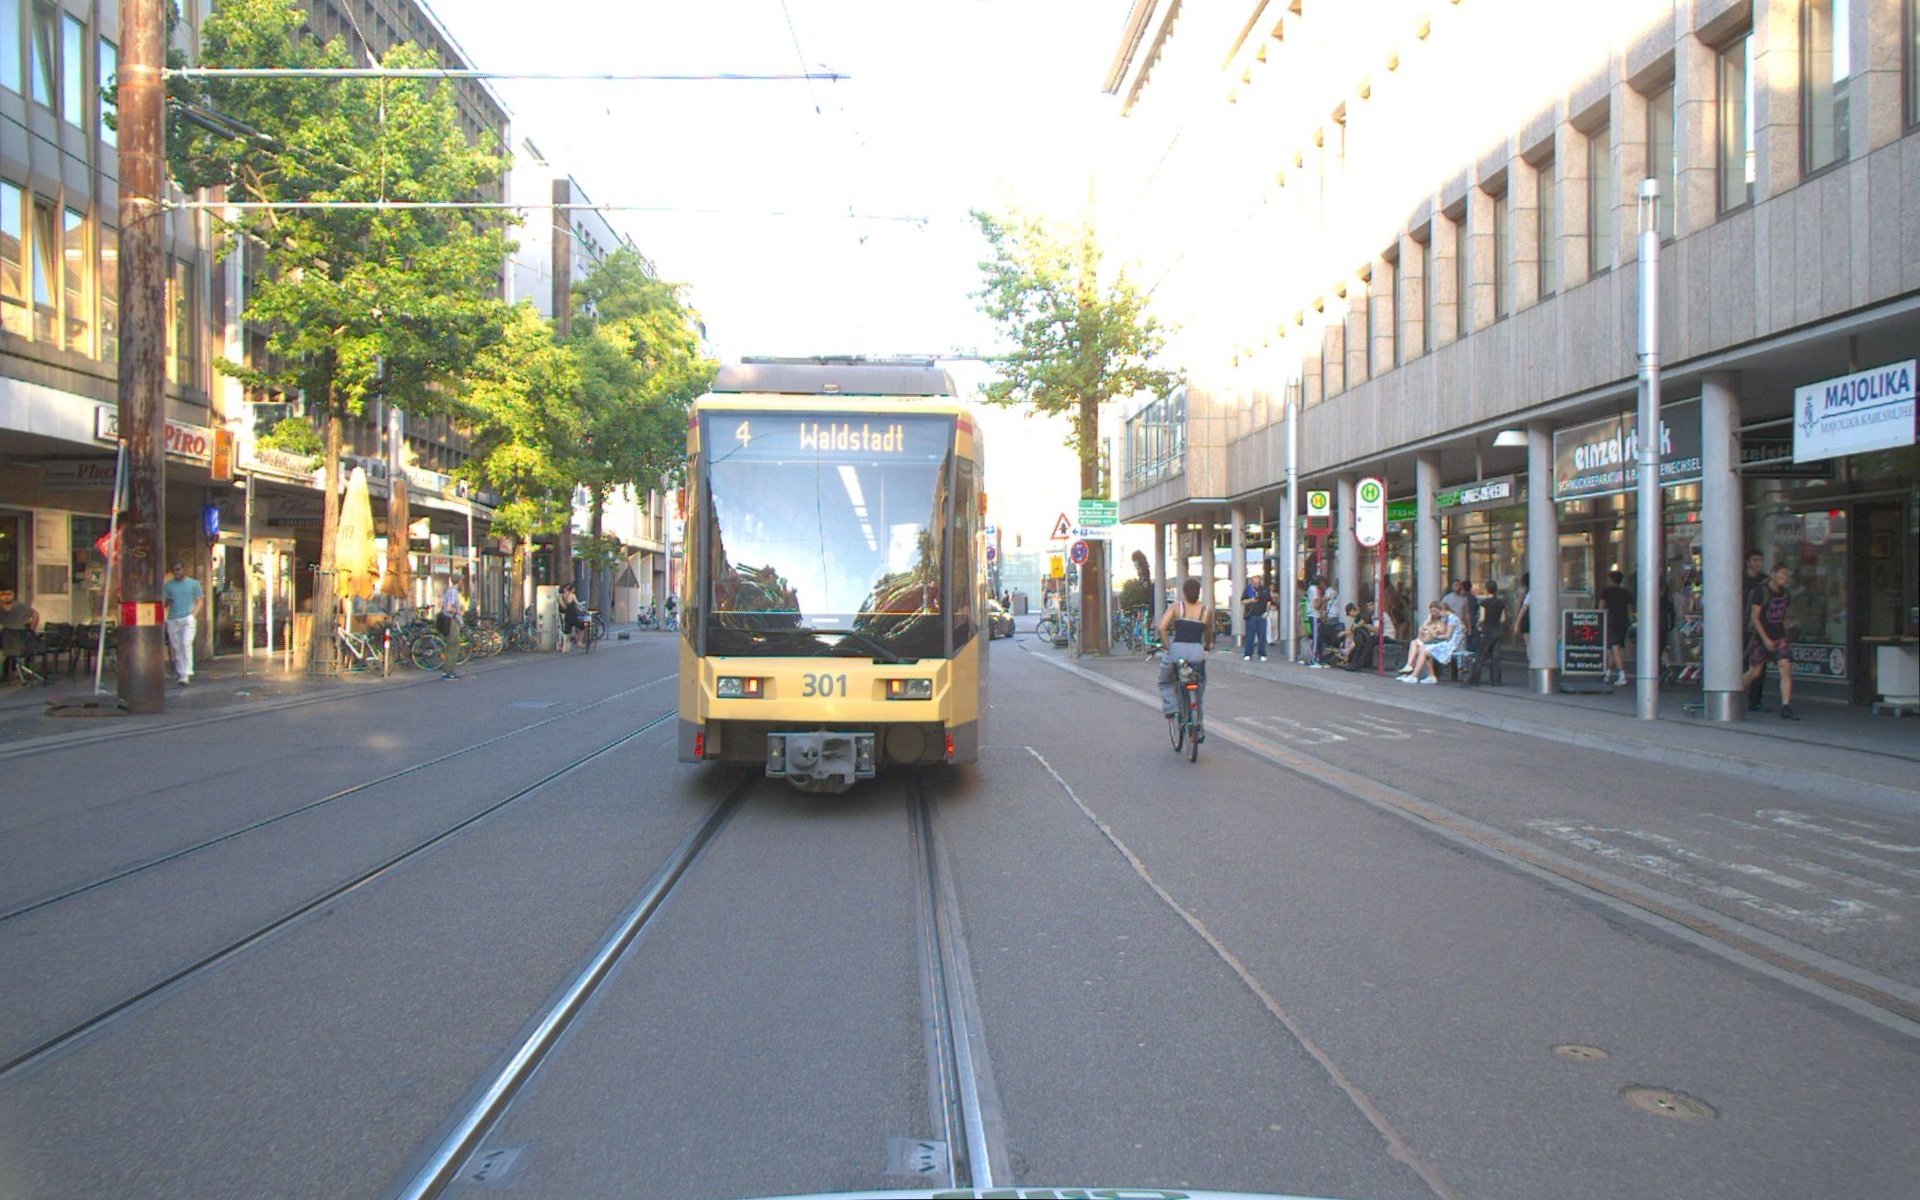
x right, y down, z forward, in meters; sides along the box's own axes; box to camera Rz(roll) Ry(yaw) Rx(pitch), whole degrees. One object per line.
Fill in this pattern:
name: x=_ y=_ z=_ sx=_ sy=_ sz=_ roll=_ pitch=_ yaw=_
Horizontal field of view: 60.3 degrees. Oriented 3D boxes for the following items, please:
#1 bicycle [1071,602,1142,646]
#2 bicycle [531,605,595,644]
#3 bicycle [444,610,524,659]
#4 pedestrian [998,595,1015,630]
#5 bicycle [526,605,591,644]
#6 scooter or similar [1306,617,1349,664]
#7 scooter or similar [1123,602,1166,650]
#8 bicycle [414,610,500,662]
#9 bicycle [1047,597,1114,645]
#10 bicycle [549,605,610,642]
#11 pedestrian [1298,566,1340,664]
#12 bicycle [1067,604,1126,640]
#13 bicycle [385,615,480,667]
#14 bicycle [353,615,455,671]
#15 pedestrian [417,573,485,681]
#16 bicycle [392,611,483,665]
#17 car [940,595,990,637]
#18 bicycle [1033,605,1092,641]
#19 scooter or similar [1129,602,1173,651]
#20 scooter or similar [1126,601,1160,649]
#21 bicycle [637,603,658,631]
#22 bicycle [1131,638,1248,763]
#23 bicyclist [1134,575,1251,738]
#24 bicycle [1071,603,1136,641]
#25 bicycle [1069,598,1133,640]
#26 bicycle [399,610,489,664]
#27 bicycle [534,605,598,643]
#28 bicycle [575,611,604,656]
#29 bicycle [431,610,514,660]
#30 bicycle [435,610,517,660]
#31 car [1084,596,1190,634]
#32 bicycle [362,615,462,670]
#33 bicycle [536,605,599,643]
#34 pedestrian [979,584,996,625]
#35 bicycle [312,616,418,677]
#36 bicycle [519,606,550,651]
bicycle: x=4.330 y=0.704 z=48.958 sx=1.958 sy=1.175 sz=0.724 roll=-2 pitch=0 yaw=-7
bicycle: x=-11.600 y=0.718 z=48.311 sx=1.736 sy=1.063 sz=0.489 roll=2 pitch=0 yaw=-2
bicycle: x=-11.284 y=0.814 z=39.215 sx=1.738 sy=1.090 sz=0.488 roll=2 pitch=0 yaw=-8
pedestrian: x=2.476 y=0.652 z=88.414 sx=0.722 sy=1.855 sz=0.816 roll=0 pitch=0 yaw=-17
bicycle: x=-11.581 y=0.716 z=47.740 sx=1.736 sy=1.063 sz=0.489 roll=2 pitch=0 yaw=-2
scooter or similar: x=7.281 y=0.804 z=32.785 sx=0.815 sy=0.899 sz=0.687 roll=1 pitch=0 yaw=12
scooter or similar: x=5.072 y=0.701 z=45.394 sx=1.176 sy=1.273 sz=0.389 roll=-2 pitch=1 yaw=-32
bicycle: x=-11.182 y=0.805 z=36.801 sx=1.738 sy=1.090 sz=0.488 roll=2 pitch=0 yaw=-8
bicycle: x=3.641 y=0.633 z=49.924 sx=1.879 sy=1.356 sz=0.724 roll=-2 pitch=0 yaw=-7
bicycle: x=-11.675 y=0.727 z=50.772 sx=1.736 sy=1.063 sz=0.489 roll=2 pitch=0 yaw=-2
pedestrian: x=6.964 y=0.286 z=32.091 sx=0.626 sy=1.872 sz=0.667 roll=-1 pitch=0 yaw=-1
bicycle: x=4.492 y=0.726 z=54.349 sx=1.816 sy=1.128 sz=0.666 roll=-2 pitch=0 yaw=-5
bicycle: x=-10.633 y=0.826 z=33.384 sx=1.738 sy=1.007 sz=0.489 roll=1 pitch=1 yaw=-8
bicycle: x=-10.559 y=0.819 z=31.446 sx=1.738 sy=1.007 sz=0.489 roll=1 pitch=1 yaw=-8
pedestrian: x=-8.829 y=0.455 z=28.661 sx=0.815 sy=1.824 sz=0.976 roll=0 pitch=-1 yaw=-41
bicycle: x=-11.046 y=0.799 z=34.987 sx=1.738 sy=1.090 sz=0.488 roll=2 pitch=0 yaw=-8
car: x=0.212 y=0.589 z=59.601 sx=1.733 sy=1.434 sz=4.052 roll=0 pitch=-1 yaw=1
bicycle: x=3.352 y=0.754 z=54.101 sx=1.816 sy=1.128 sz=0.666 roll=-2 pitch=0 yaw=-5
scooter or similar: x=5.156 y=0.714 z=44.622 sx=1.102 sy=1.273 sz=0.491 roll=-2 pitch=1 yaw=-33
scooter or similar: x=5.098 y=0.691 z=46.010 sx=0.385 sy=1.273 sz=1.187 roll=-1 pitch=1 yaw=36
bicycle: x=-13.596 y=0.737 z=71.964 sx=0.488 sy=1.127 sz=1.801 roll=0 pitch=1 yaw=3
bicycle: x=2.254 y=0.960 z=16.496 sx=0.798 sy=1.092 sz=2.113 roll=1 pitch=0 yaw=-2
bicyclist: x=2.270 y=0.538 z=16.230 sx=0.977 sy=1.528 sz=0.857 roll=1 pitch=0 yaw=-2
bicycle: x=4.498 y=0.686 z=51.953 sx=1.879 sy=1.096 sz=0.762 roll=-2 pitch=0 yaw=-7
bicycle: x=4.473 y=0.607 z=52.699 sx=1.879 sy=1.244 sz=0.762 roll=-2 pitch=0 yaw=-7
bicycle: x=-11.087 y=0.801 z=35.563 sx=1.738 sy=1.090 sz=0.488 roll=2 pitch=0 yaw=-8
bicycle: x=-11.644 y=0.720 z=48.888 sx=1.736 sy=1.063 sz=0.489 roll=2 pitch=0 yaw=-2
bicycle: x=-9.373 y=0.834 z=41.898 sx=0.478 sy=1.063 sz=1.776 roll=1 pitch=1 yaw=-5
bicycle: x=-11.196 y=0.810 z=38.021 sx=1.738 sy=1.090 sz=0.488 roll=2 pitch=0 yaw=-8
bicycle: x=-11.269 y=0.811 z=38.563 sx=1.738 sy=1.090 sz=0.488 roll=2 pitch=0 yaw=-8
car: x=6.902 y=0.596 z=64.742 sx=3.818 sy=1.434 sz=1.771 roll=1 pitch=-1 yaw=-10
bicycle: x=-10.587 y=0.821 z=31.973 sx=1.738 sy=1.007 sz=0.489 roll=1 pitch=1 yaw=-8
bicycle: x=-11.650 y=0.721 z=49.130 sx=1.736 sy=1.063 sz=0.489 roll=2 pitch=0 yaw=-2
pedestrian: x=1.193 y=0.205 z=72.390 sx=0.703 sy=1.756 sz=0.709 roll=0 pitch=-1 yaw=-2
bicycle: x=-10.347 y=0.810 z=28.771 sx=1.734 sy=0.983 sz=0.490 roll=2 pitch=-1 yaw=15
bicycle: x=-10.707 y=0.708 z=41.651 sx=0.478 sy=1.063 sz=1.776 roll=1 pitch=1 yaw=-5
